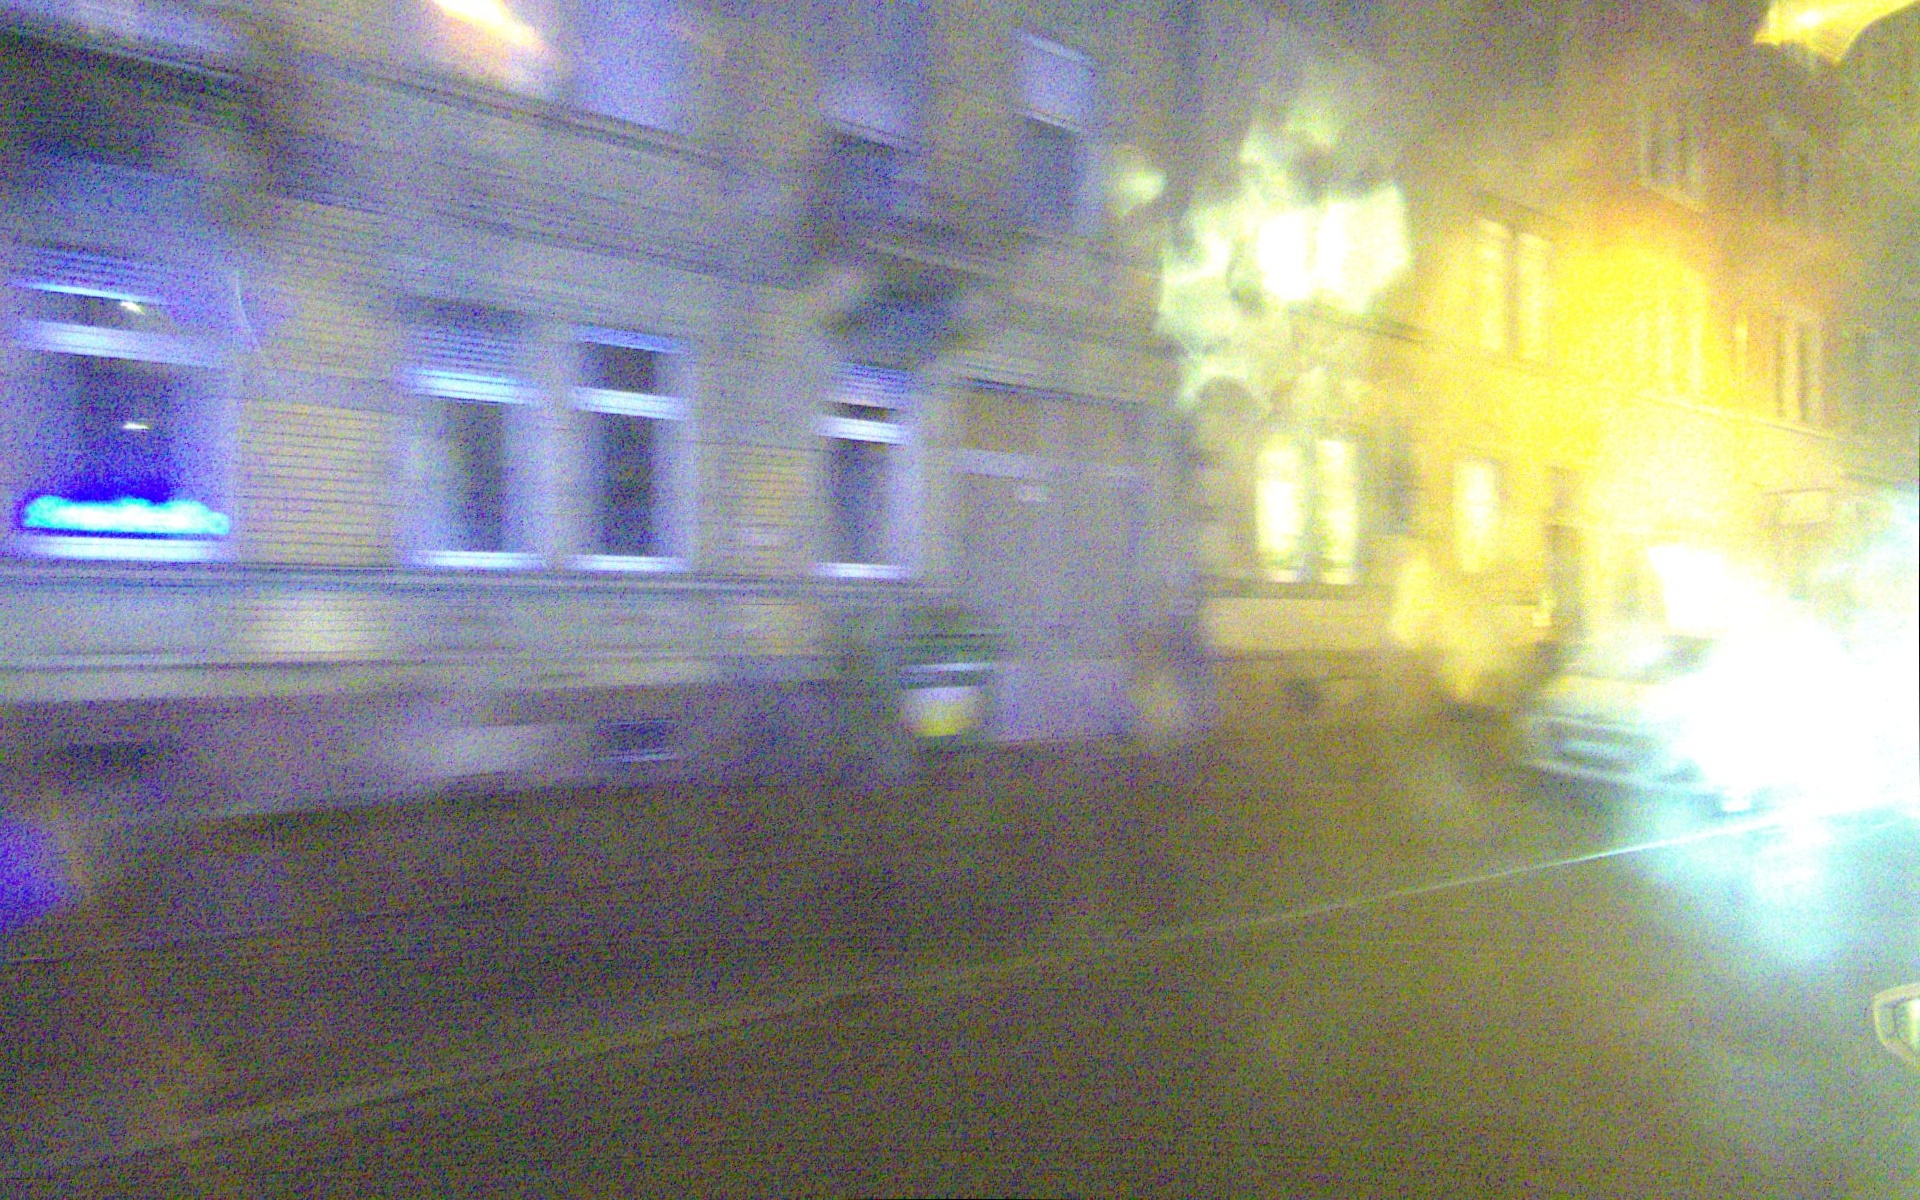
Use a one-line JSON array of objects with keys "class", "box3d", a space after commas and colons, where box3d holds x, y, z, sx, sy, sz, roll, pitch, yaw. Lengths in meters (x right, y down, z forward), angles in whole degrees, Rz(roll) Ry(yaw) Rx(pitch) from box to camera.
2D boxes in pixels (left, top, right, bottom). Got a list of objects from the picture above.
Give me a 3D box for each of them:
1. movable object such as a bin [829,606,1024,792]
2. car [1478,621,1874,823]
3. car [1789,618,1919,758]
[{"class": "movable object such as a bin", "box3d": [-0.304, 0.811, 8.811, 1.363, 1.473, 1.095, 1, -2, -32]}, {"class": "car", "box3d": [6.725, 0.978, 9.372, 3.678, 1.511, 1.664, 1, 0, -30]}, {"class": "car", "box3d": [12.521, 1.041, 12.782, 4.086, 1.593, 1.766, 1, -1, -31]}]
